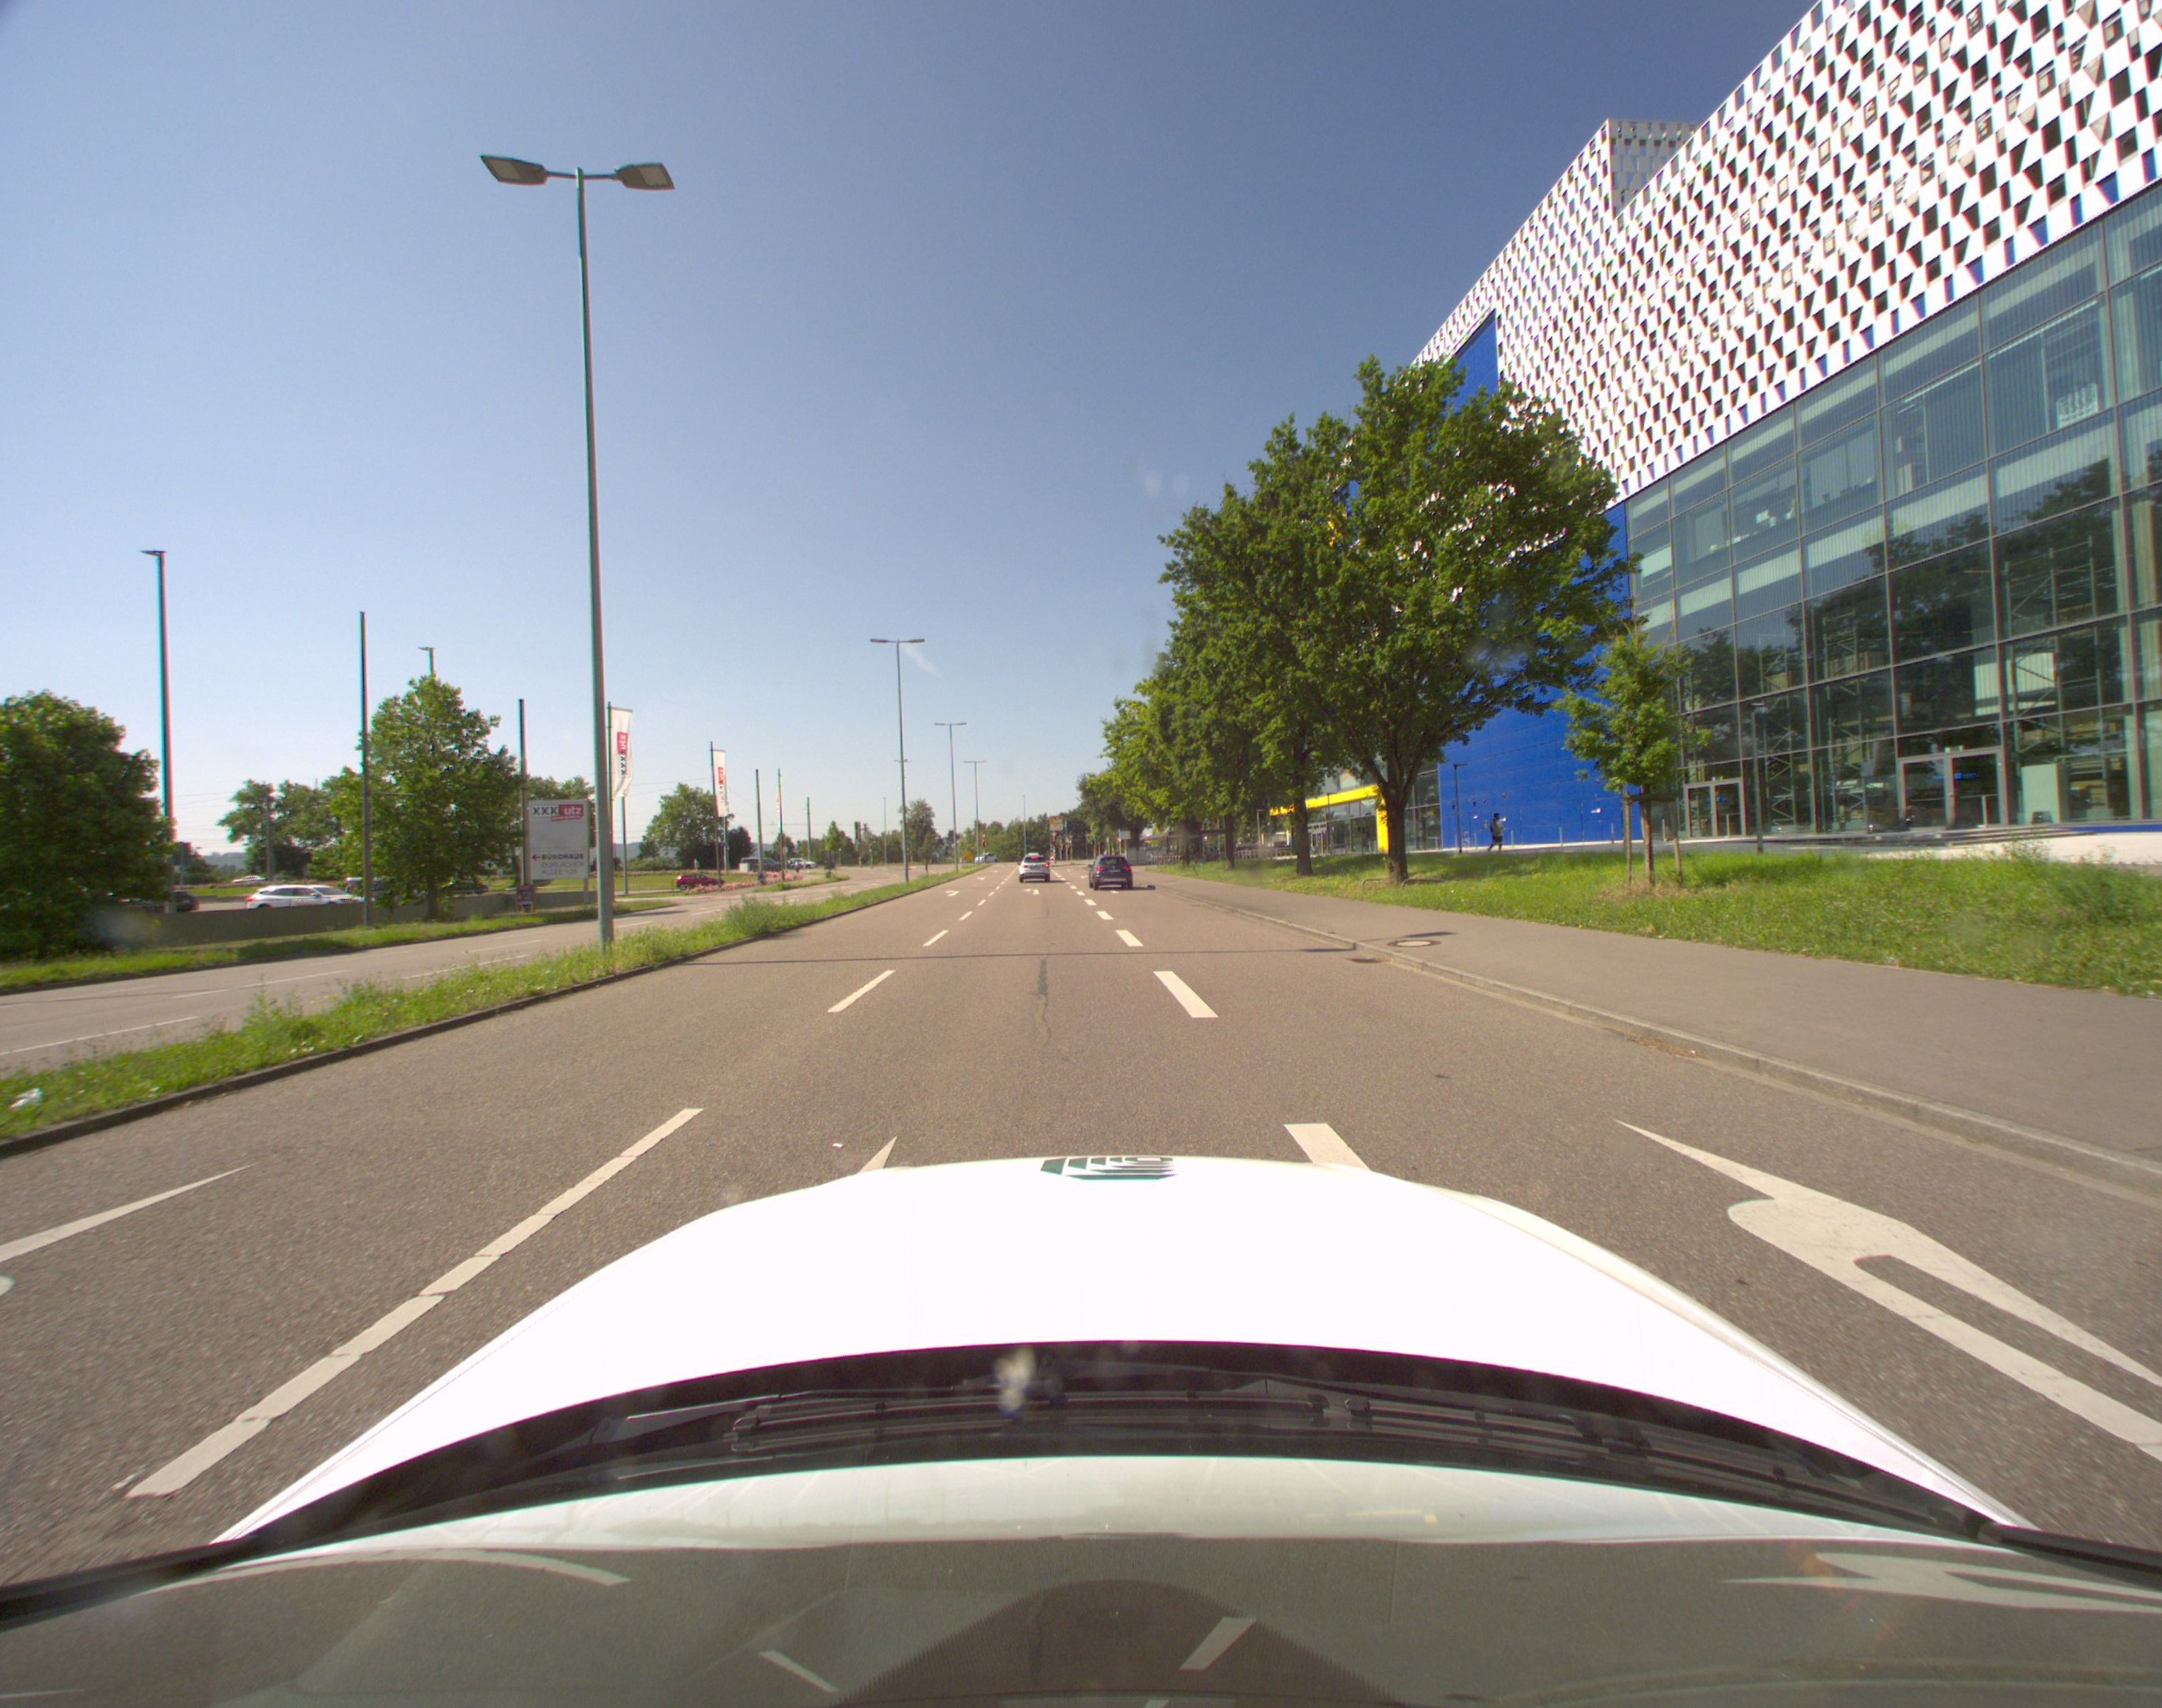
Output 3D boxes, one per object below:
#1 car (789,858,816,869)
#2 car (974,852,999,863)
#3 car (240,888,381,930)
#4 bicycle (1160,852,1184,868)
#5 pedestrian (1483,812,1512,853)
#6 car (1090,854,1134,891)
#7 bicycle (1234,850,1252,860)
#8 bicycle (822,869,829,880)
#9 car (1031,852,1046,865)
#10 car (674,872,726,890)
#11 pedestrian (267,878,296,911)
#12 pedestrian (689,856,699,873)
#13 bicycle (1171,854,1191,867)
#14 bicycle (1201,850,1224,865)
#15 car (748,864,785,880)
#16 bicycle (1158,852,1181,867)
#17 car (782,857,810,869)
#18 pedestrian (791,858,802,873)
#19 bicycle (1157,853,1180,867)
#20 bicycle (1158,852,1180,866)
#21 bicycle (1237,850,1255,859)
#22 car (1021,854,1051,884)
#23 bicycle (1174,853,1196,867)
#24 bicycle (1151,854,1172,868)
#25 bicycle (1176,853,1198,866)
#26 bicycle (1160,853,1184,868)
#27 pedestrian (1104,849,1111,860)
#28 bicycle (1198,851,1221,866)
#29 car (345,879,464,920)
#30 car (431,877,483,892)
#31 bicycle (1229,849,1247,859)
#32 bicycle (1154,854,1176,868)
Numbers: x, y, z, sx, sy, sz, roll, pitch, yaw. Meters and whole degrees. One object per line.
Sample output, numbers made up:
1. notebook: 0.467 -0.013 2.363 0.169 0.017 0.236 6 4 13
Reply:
1. car: -39.109 1.320 114.477 3.341 1.500 1.406 -2 -1 -8
2. car: -14.818 0.564 128.144 1.777 1.547 4.112 -2 -1 29
3. car: -35.196 2.485 37.306 4.407 1.627 1.867 -2 -2 -6
4. bicycle: 6.923 0.439 61.959 1.755 1.096 0.451 -3 0 -4
5. pedestrian: 16.907 -0.866 33.056 0.687 1.612 0.769 -3 0 -7
6. car: 1.341 0.793 36.281 1.666 1.523 3.373 -1 0 -3
7. bicycle: 15.101 0.068 75.951 1.557 0.843 0.433 -2 0 -2
8. bicycle: -24.408 1.959 77.773 0.330 1.023 1.639 -3 -2 -7
9. car: -5.106 0.483 97.407 1.738 1.448 4.383 -1 0 -4
10. car: -37.023 2.612 79.165 4.181 1.605 1.821 -2 -1 -9
11. pedestrian: -46.409 2.357 47.266 0.852 1.857 0.751 -3 0 -4
12. pedestrian: -46.101 1.220 96.965 0.713 1.972 0.918 -2 -2 1
13. bicycle: 8.902 0.549 72.526 1.755 1.096 0.451 -3 0 -4
14. bicycle: 10.320 0.291 63.954 1.755 1.096 0.451 -3 0 -4
15. car: -39.835 2.290 103.168 3.955 1.925 1.825 -1 1 18
16. bicycle: 7.059 0.432 64.877 1.755 1.096 0.451 -3 0 -4
17. car: -38.710 1.238 110.615 3.382 1.500 1.406 -2 -1 -6
18. pedestrian: -33.319 1.383 95.458 0.835 1.707 0.908 -3 0 8
19. bicycle: 7.025 0.480 65.426 1.755 1.096 0.451 -3 0 -4
20. bicycle: 7.331 0.437 67.698 1.755 1.096 0.451 -3 0 -4
21. bicycle: 15.186 0.048 74.858 1.557 0.843 0.433 -2 0 -2
22. car: -2.569 0.830 46.750 1.627 1.498 3.866 -1 2 -3
23. bicycle: 8.965 0.515 70.069 1.755 1.096 0.451 -3 0 -4
24. bicycle: 7.011 0.601 71.265 1.755 1.096 0.451 -3 0 -4
25. bicycle: 9.315 0.481 71.314 1.825 1.096 0.451 -3 0 -4
26. bicycle: 7.144 0.477 63.953 1.755 1.096 0.451 -3 0 -4
27. pedestrian: 3.581 0.068 109.494 0.768 1.510 1.010 -2 1 7
28. bicycle: 10.297 0.372 65.141 1.755 1.096 0.451 -3 0 -4
29. car: -35.201 2.364 42.467 4.405 1.842 1.942 -2 -1 -5
30. car: -63.042 3.046 82.305 3.841 1.330 1.726 -2 -1 -5
31. bicycle: 14.967 0.002 77.631 1.556 0.843 0.434 -2 0 0
32. bicycle: 7.129 0.579 69.175 1.755 1.096 0.451 -3 0 -4
